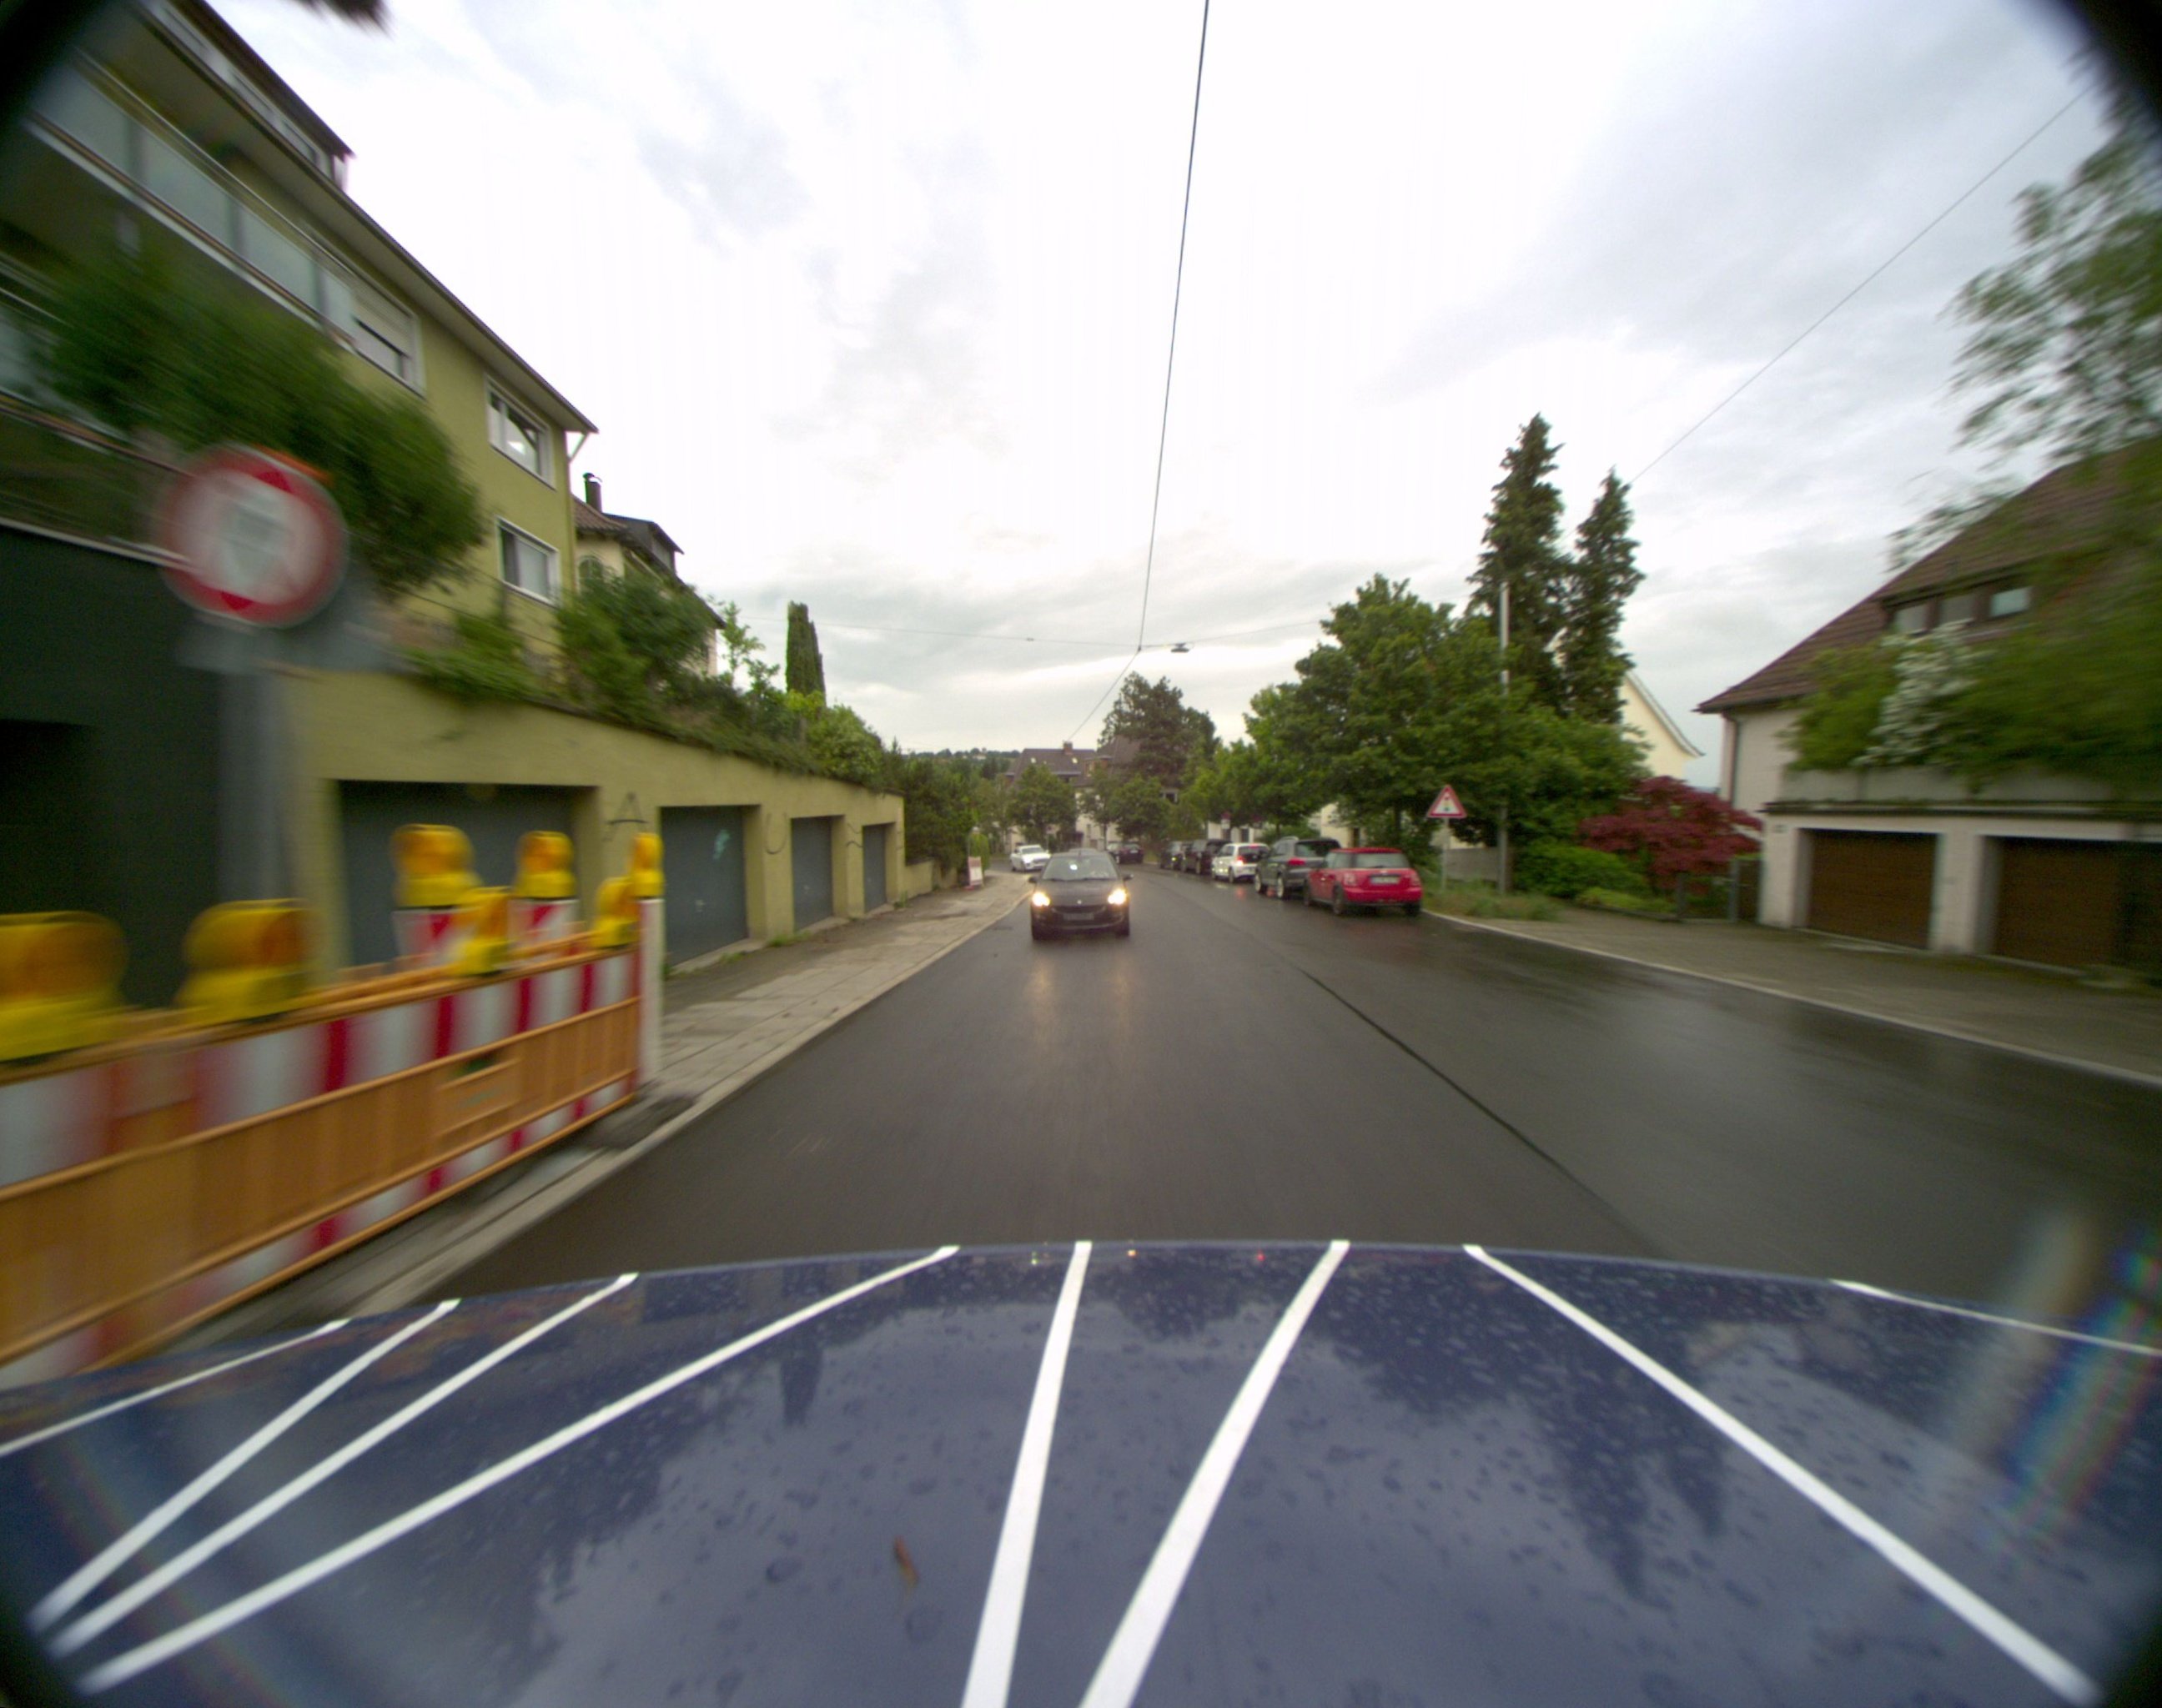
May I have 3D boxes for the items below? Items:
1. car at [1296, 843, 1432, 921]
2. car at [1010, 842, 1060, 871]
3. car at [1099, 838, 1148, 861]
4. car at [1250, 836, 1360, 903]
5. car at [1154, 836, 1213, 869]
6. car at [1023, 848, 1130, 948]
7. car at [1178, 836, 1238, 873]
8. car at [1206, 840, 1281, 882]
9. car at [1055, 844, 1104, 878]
[{"bbox_3d":[6.104,0.532,16.863,1.686,1.463,3.864,0,2,2],"label":"car"},{"bbox_3d":[-3.019,0.096,49.258,2.003,1.699,4.565,-2,2,-20],"label":"car"},{"bbox_3d":[2.830,-0.318,51.604,1.677,1.458,3.886,-3,2,-24],"label":"car"},{"bbox_3d":[6.186,0.348,21.485,1.805,1.659,4.424,-1,2,0],"label":"car"},{"bbox_3d":[5.386,-0.146,40.418,1.872,1.537,4.900,-3,2,-7],"label":"car"},{"bbox_3d":[0.030,0.688,14.466,1.674,1.458,4.715,-2,2,3],"label":"car"},{"bbox_3d":[5.863,-0.030,35.552,1.738,1.537,4.207,-3,2,-4],"label":"car"},{"bbox_3d":[6.257,0.205,29.644,1.738,1.458,3.997,-3,1,-4],"label":"car"},{"bbox_3d":[-0.130,0.273,35.922,1.844,1.395,4.068,-2,2,-6],"label":"car"}]
